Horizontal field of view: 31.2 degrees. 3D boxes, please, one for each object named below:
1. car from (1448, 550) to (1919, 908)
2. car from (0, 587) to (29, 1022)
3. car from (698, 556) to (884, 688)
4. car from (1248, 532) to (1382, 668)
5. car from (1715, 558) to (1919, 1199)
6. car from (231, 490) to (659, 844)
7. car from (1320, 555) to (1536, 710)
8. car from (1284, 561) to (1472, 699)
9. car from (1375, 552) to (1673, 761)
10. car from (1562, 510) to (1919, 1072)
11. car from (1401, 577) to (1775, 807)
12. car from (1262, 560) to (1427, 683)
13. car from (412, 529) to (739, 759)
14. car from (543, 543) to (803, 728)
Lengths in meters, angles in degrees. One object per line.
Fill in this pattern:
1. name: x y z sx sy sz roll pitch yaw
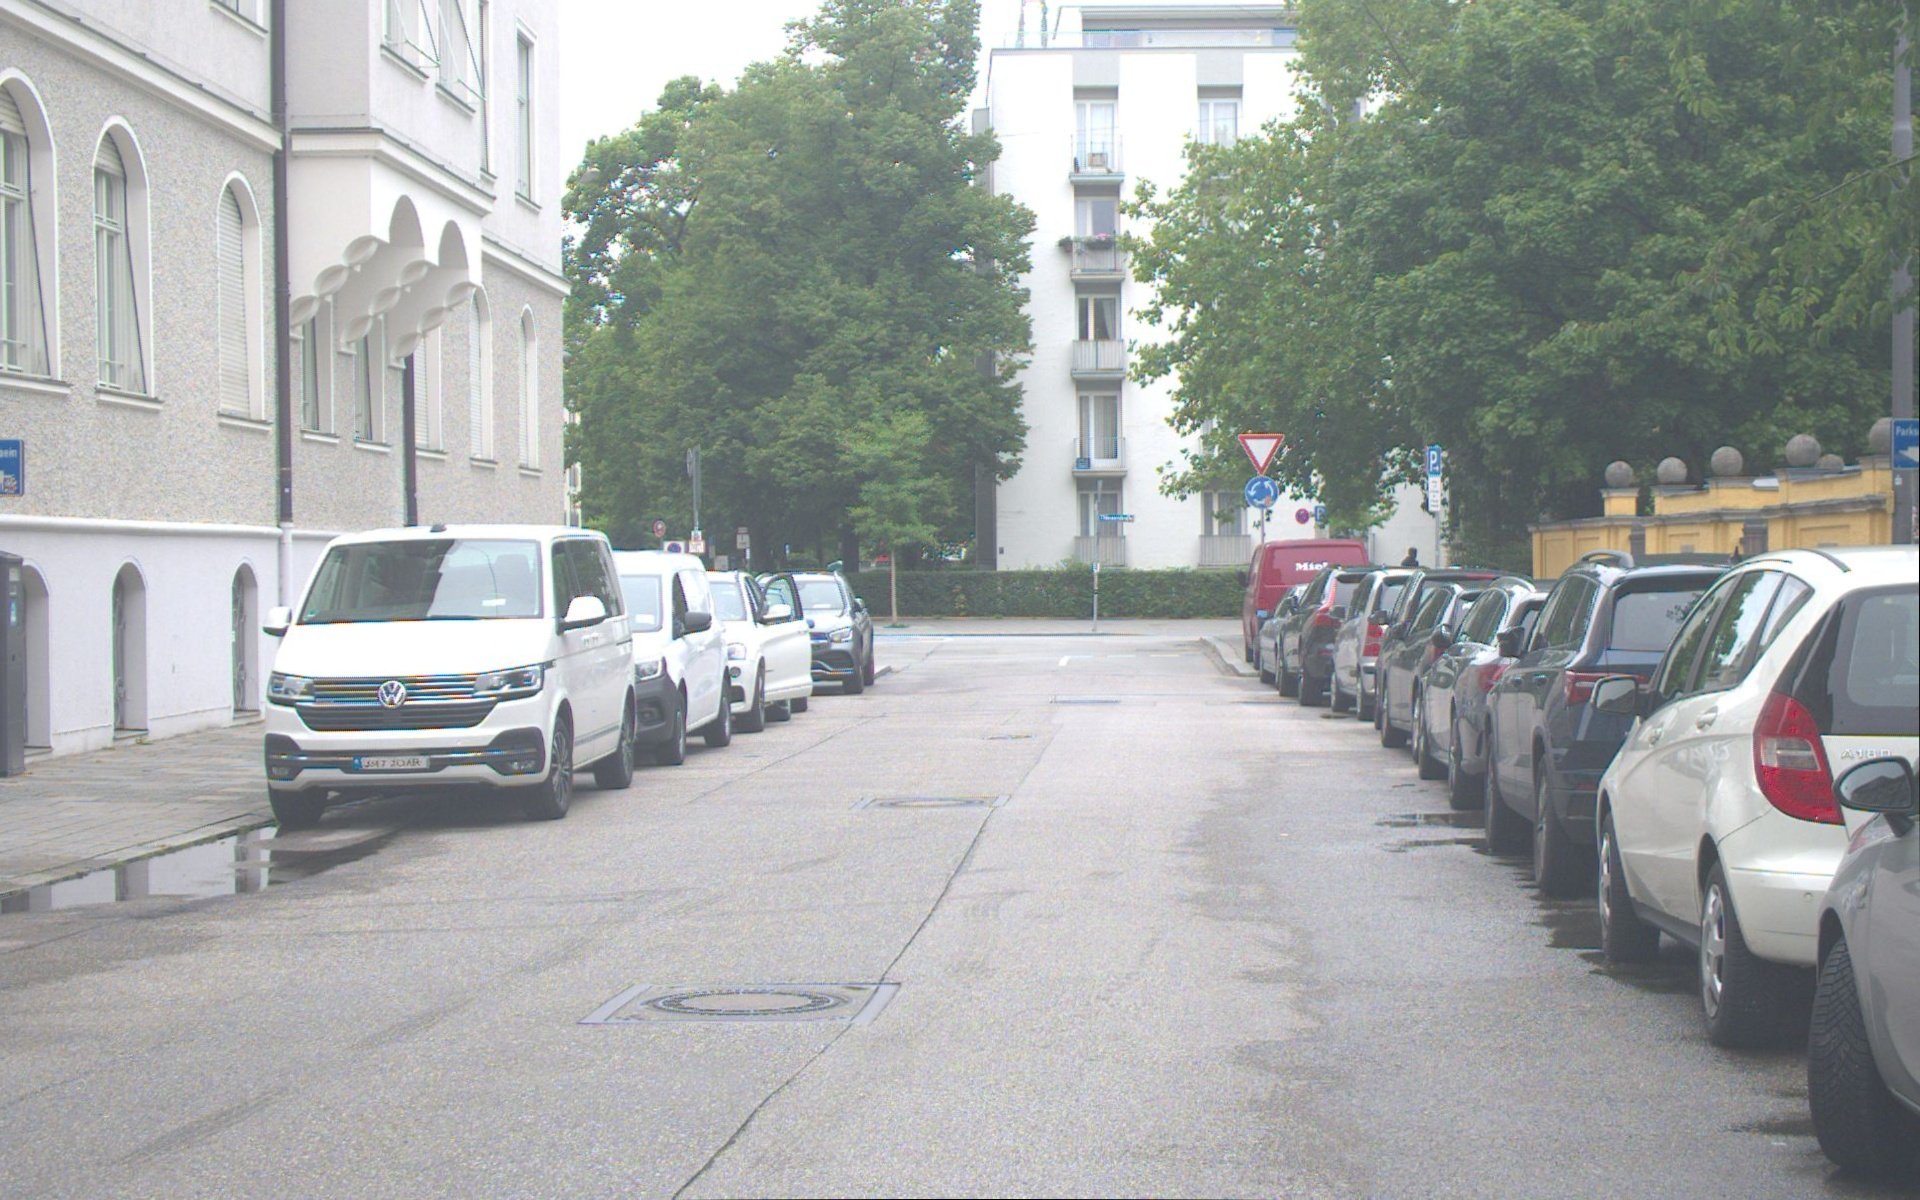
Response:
1. car: 3.598 0.563 17.205 1.838 1.546 3.947 1 0 2
2. car: -4.387 0.778 10.057 1.836 1.494 4.274 -3 1 4
3. car: -2.273 0.266 47.370 2.015 1.628 4.413 -3 1 4
4. car: 5.470 -0.040 52.588 1.837 1.920 4.003 3 1 8
5. car: 2.810 0.688 7.317 1.652 1.513 3.795 1 0 2
6. car: -3.410 0.381 23.713 1.886 2.120 4.706 -3 1 4
7. car: 4.906 0.321 36.505 1.838 1.513 3.947 1 0 2
8. car: 4.898 0.327 40.706 1.838 1.513 3.947 1 0 2
9. car: 4.451 0.412 27.661 1.838 1.513 3.947 1 0 2
10. car: 3.113 0.570 12.039 1.514 1.656 3.674 1 0 3
11. car: 4.048 0.546 22.756 1.838 1.341 3.947 1 0 2
12. car: 5.045 0.265 45.577 1.838 1.513 3.947 1 0 2
13. car: -3.247 0.322 29.922 2.015 1.765 4.413 -3 1 4
14. car: -2.893 0.313 35.649 2.015 1.720 4.274 -3 1 4
